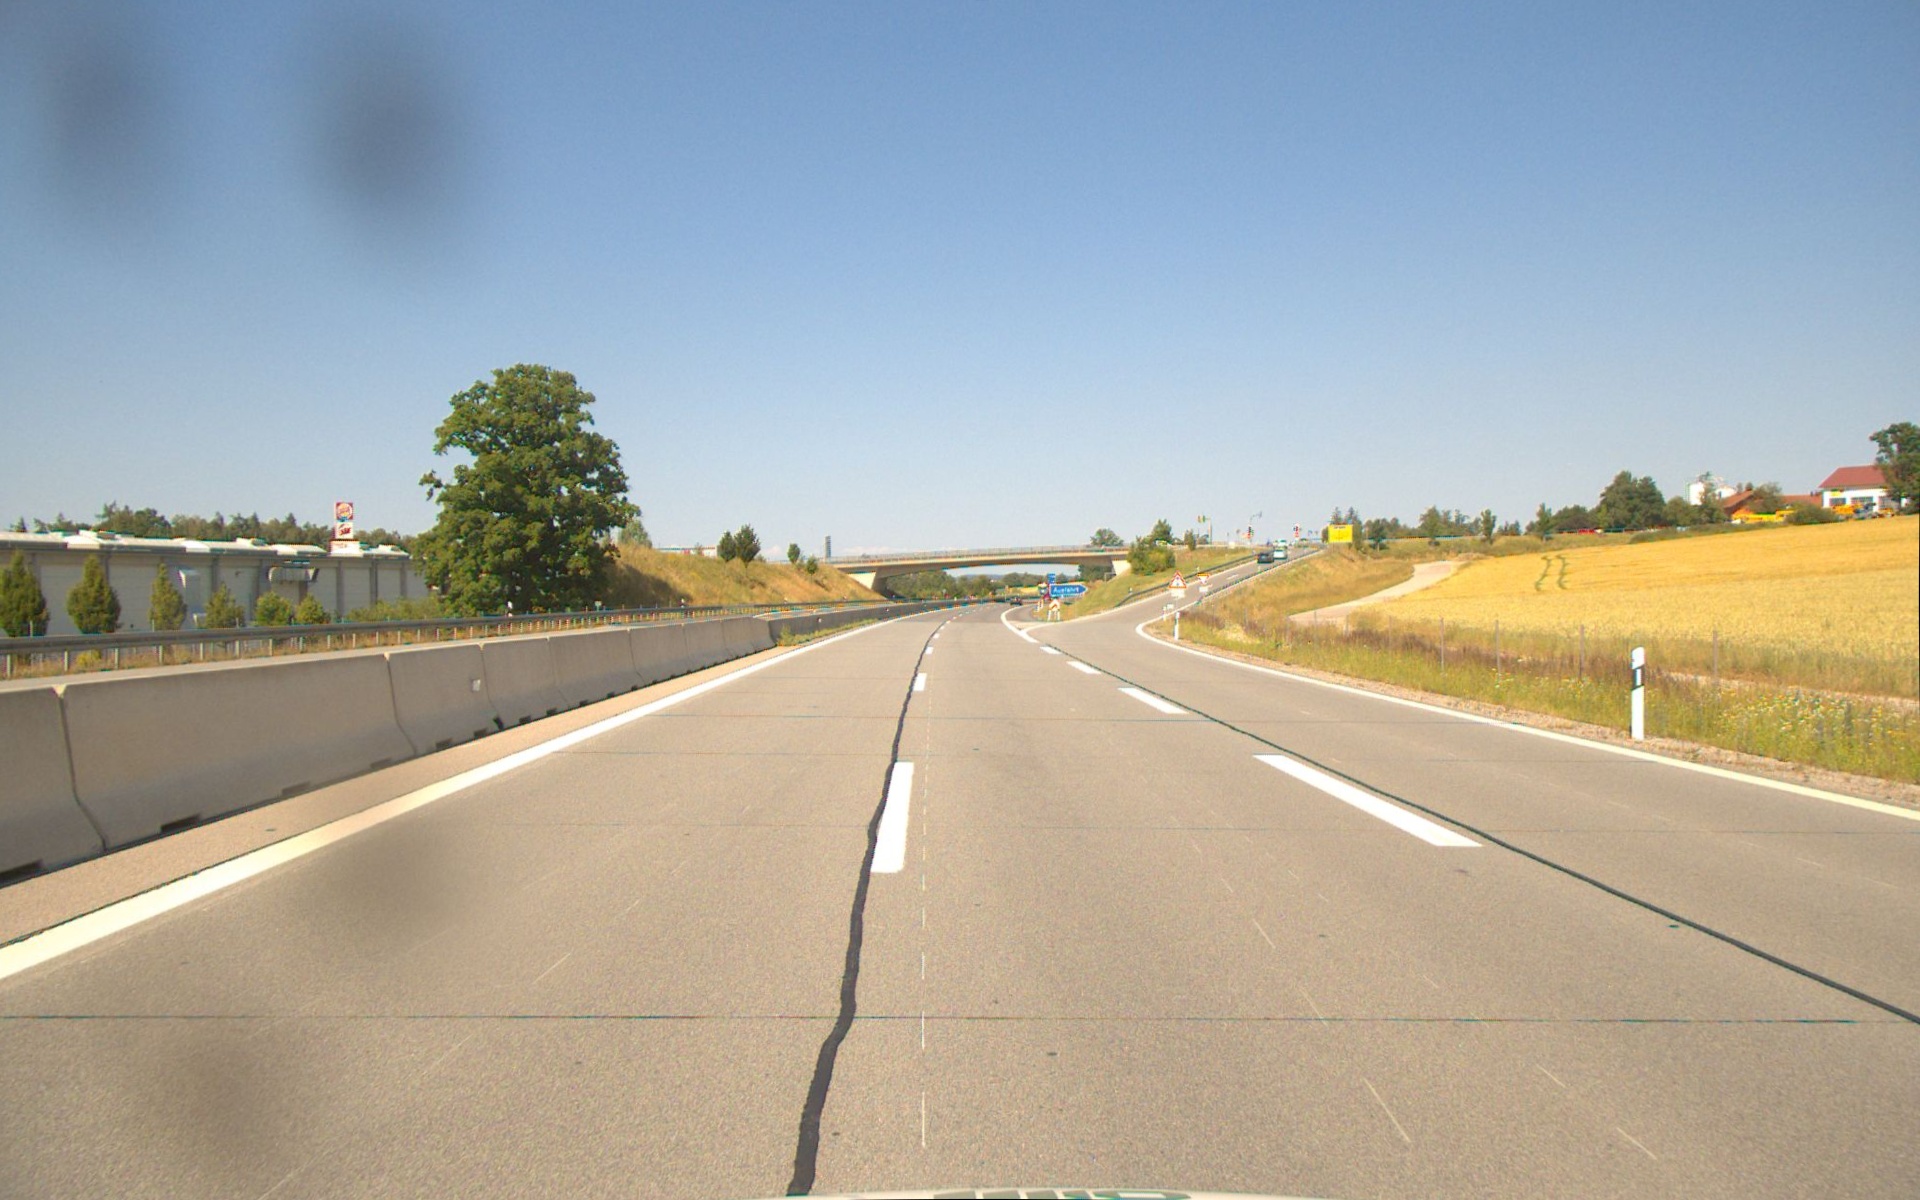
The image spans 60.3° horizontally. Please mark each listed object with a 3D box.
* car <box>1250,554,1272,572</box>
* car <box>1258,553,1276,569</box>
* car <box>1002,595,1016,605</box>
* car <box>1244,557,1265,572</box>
[{"bbox_3d":[35.700,-4.394,196.115,1.951,2.049,4.003,-2,0,17],"label":"car"},{"bbox_3d":[41.848,-5.307,225.628,1.951,2.049,4.003,-2,0,17],"label":"car"},{"bbox_3d":[7.463,-0.018,252.364,1.952,1.445,4.001,-2,0,1],"label":"car"},{"bbox_3d":[35.126,-4.190,197.460,1.951,1.646,4.003,-2,0,17],"label":"car"}]
